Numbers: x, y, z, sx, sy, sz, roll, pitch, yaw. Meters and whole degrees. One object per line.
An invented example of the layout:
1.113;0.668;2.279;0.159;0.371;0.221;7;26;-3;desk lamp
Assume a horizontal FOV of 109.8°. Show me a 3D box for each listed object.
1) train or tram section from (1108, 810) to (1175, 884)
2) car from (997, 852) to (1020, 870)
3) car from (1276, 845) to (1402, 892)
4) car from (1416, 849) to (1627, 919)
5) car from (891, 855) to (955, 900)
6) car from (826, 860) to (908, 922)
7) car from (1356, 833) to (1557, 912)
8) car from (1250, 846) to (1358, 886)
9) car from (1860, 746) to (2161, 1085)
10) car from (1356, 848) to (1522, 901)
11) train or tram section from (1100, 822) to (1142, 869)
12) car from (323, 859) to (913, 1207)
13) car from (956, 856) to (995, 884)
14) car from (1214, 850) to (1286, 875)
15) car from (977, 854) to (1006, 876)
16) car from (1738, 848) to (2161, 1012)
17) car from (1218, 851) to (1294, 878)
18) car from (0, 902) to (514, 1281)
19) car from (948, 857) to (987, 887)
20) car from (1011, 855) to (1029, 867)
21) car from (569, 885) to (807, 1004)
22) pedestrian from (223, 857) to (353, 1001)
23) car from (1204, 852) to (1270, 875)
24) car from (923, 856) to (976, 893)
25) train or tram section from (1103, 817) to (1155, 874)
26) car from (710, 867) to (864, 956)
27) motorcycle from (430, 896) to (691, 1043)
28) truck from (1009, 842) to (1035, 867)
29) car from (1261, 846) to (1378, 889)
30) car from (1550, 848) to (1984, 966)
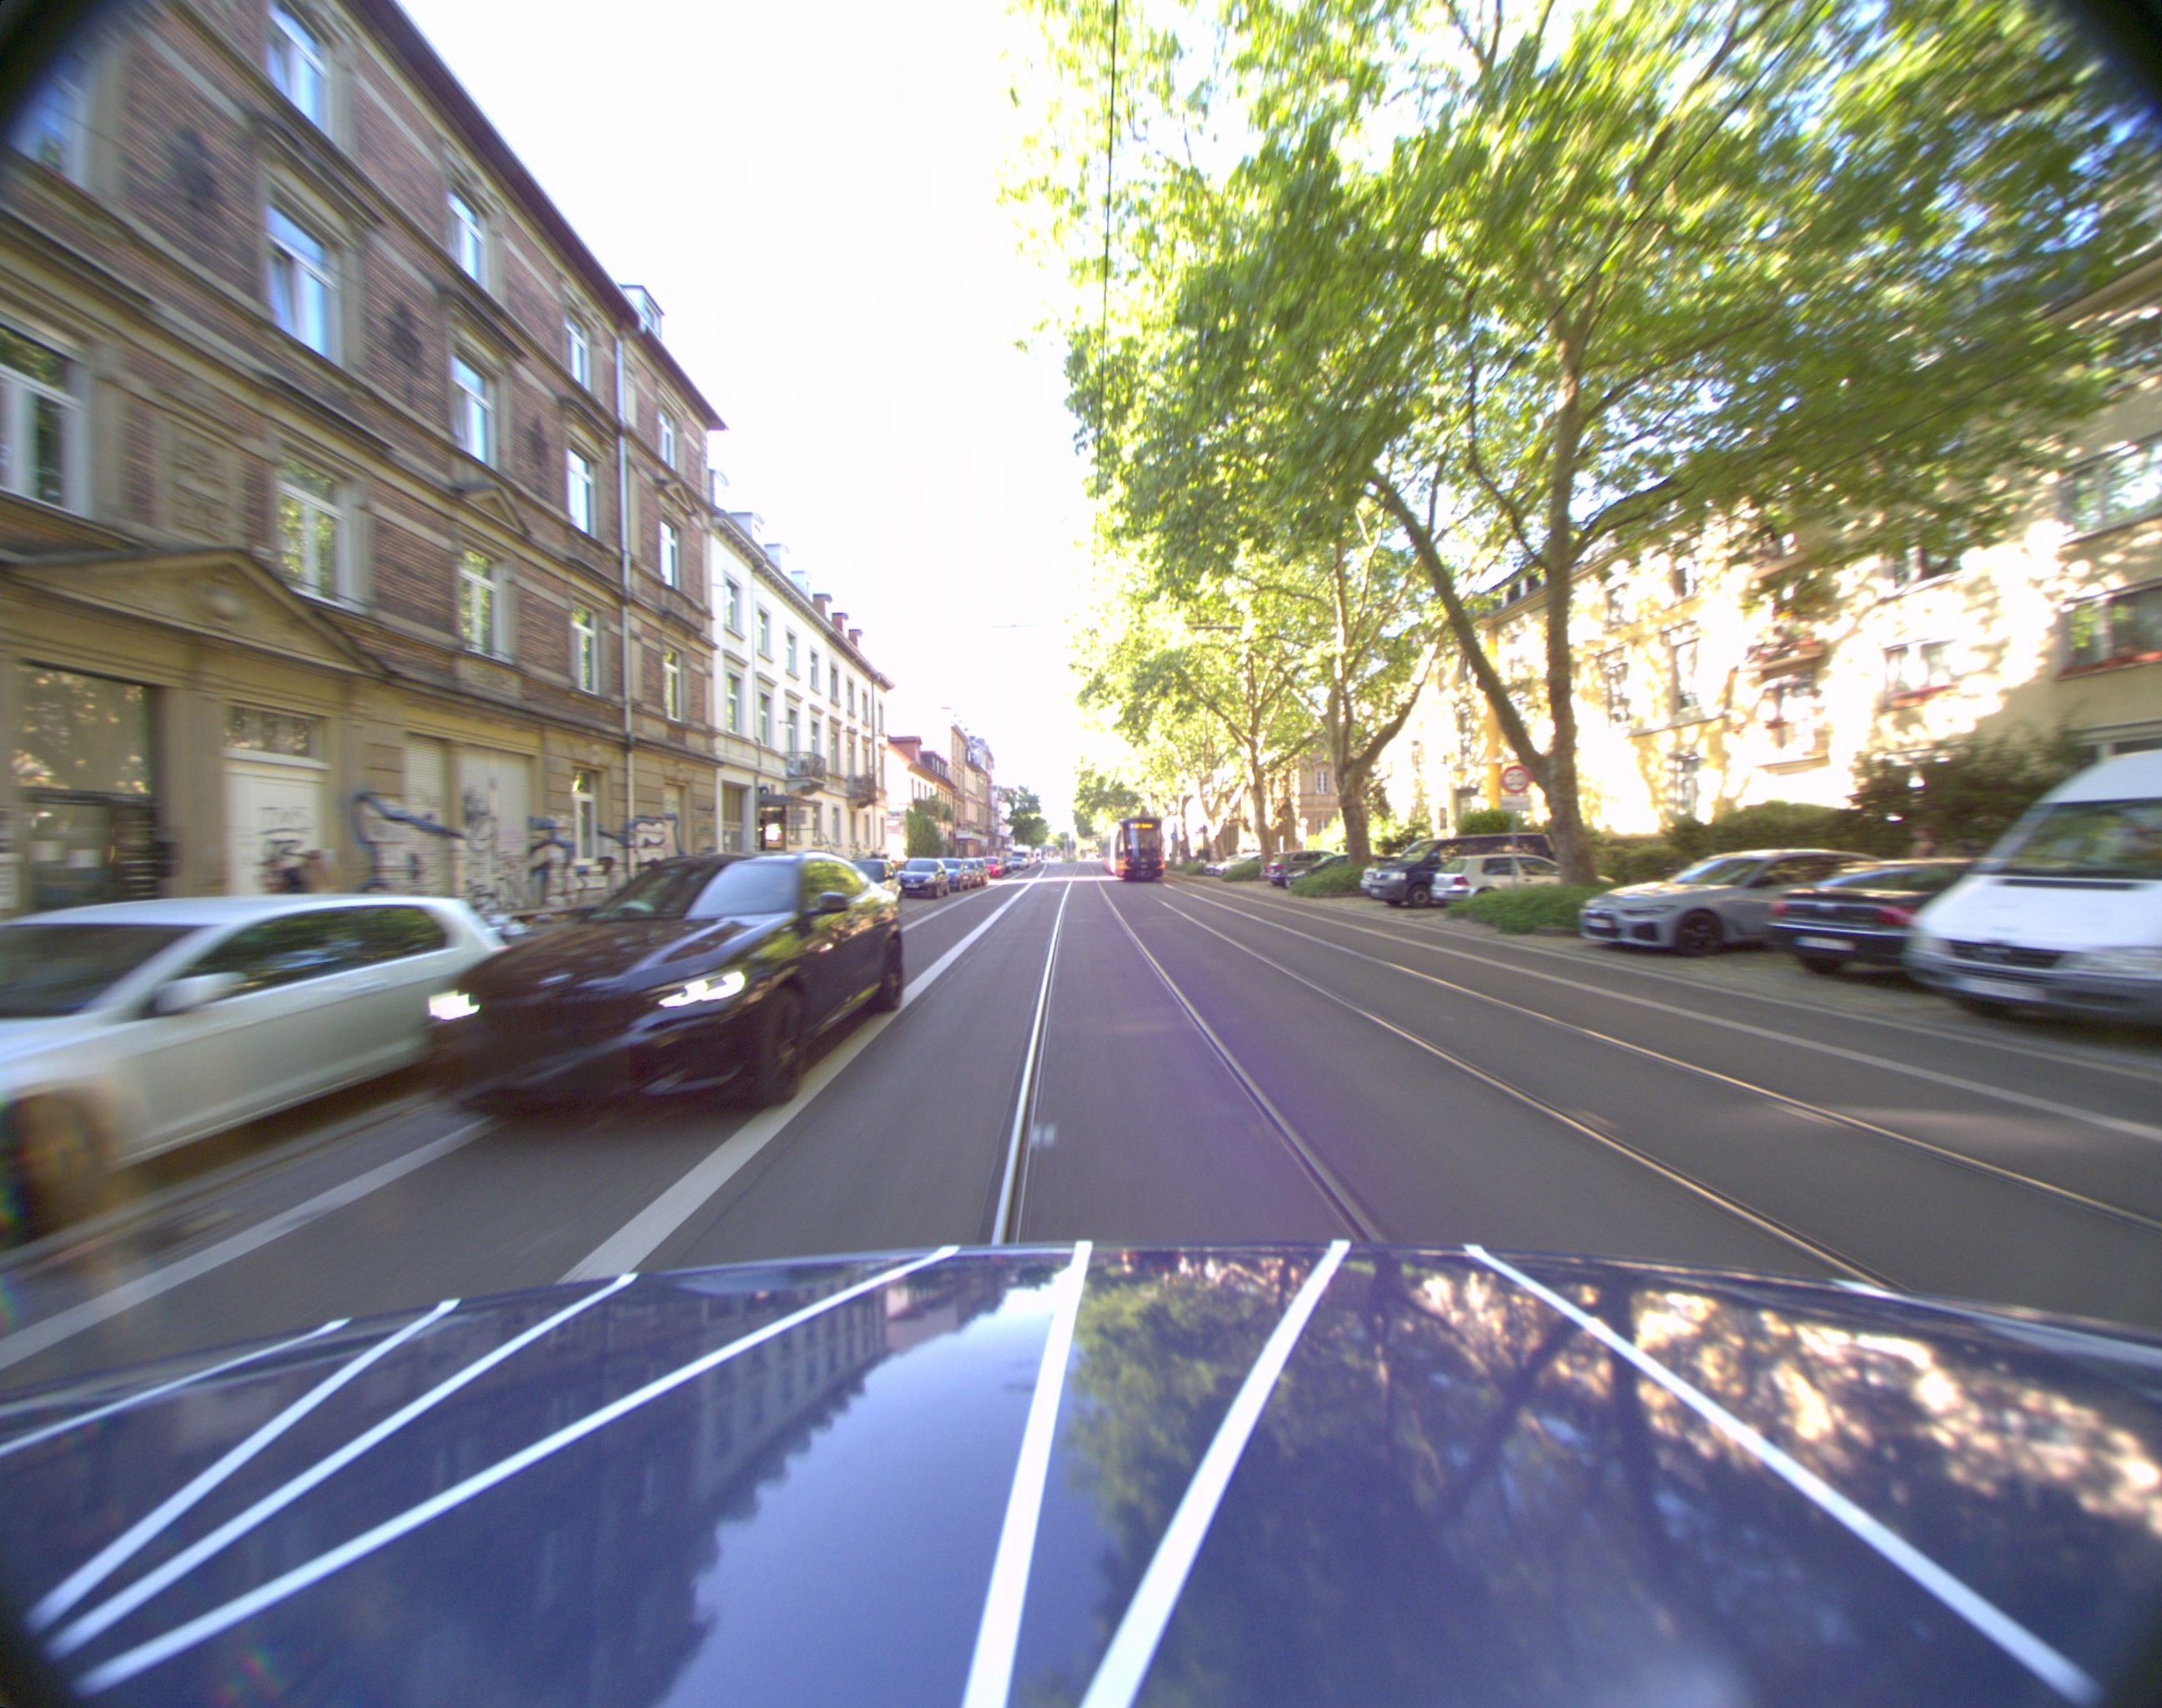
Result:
3.288;-0.437;44.371;2.944;3.598;11.060;-3;1;0;train or tram section
-6.440;0.634;68.137;1.703;1.559;3.686;0;0;0;car
10.343;0.575;30.700;4.366;1.603;2.000;-3;0;-1;car
10.746;0.705;18.745;4.069;1.437;1.869;-3;0;-1;car
-5.995;0.835;29.195;1.635;1.497;3.906;3;0;-2;car
-5.877;0.970;21.117;1.514;1.534;2.820;1;1;-1;car
10.455;0.496;21.371;4.640;1.896;1.921;-3;0;-2;car
10.350;0.551;35.468;4.366;1.603;2.000;-3;0;-1;car
10.883;0.284;6.372;6.619;2.393;2.000;-3;0;-1;car
11.148;0.633;23.830;4.366;1.400;1.658;-3;0;-1;car
3.346;-0.781;67.363;2.944;3.598;12.408;-3;1;0;train or tram section
-2.882;0.938;6.215;1.949;1.694;4.629;-1;0;0;car
-6.151;0.901;44.516;1.729;1.559;3.686;0;0;0;car
10.321;0.516;46.475;3.998;1.422;1.600;-1;1;-4;car
-6.520;0.786;55.858;1.703;1.559;3.686;0;0;0;car
10.554;0.777;8.886;4.156;1.489;1.904;-3;1;-2;car
10.055;0.579;43.849;3.998;1.422;1.527;-1;1;-4;car
-5.523;1.134;4.346;1.606;1.412;4.012;1;1;-1;car
-5.994;0.919;40.430;1.542;1.497;3.358;0;0;0;car
-6.936;0.740;86.484;1.703;1.324;3.686;0;0;0;car
-5.512;1.199;11.230;1.653;1.265;3.723;1;1;-1;car
-9.593;0.875;9.223;0.716;1.647;0.766;-1;1;-2;pedestrian
10.121;0.584;49.466;3.998;1.367;1.411;-1;1;-4;car
-6.099;0.905;35.683;1.729;1.497;3.907;3;0;0;car
3.309;-0.613;55.534;2.944;3.598;11.256;-3;1;0;train or tram section
-5.718;1.050;15.269;1.610;1.444;3.741;1;1;0;car
-5.358;1.151;8.001;2.143;1.281;0.642;-1;1;-23;motorcycle
-7.805;0.009;101.231;2.843;3.145;7.290;-3;1;-1;truck
10.322;0.588;33.107;4.366;1.603;2.000;-3;0;-1;car
10.409;0.757;11.831;4.944;1.437;2.000;-3;0;-1;car
